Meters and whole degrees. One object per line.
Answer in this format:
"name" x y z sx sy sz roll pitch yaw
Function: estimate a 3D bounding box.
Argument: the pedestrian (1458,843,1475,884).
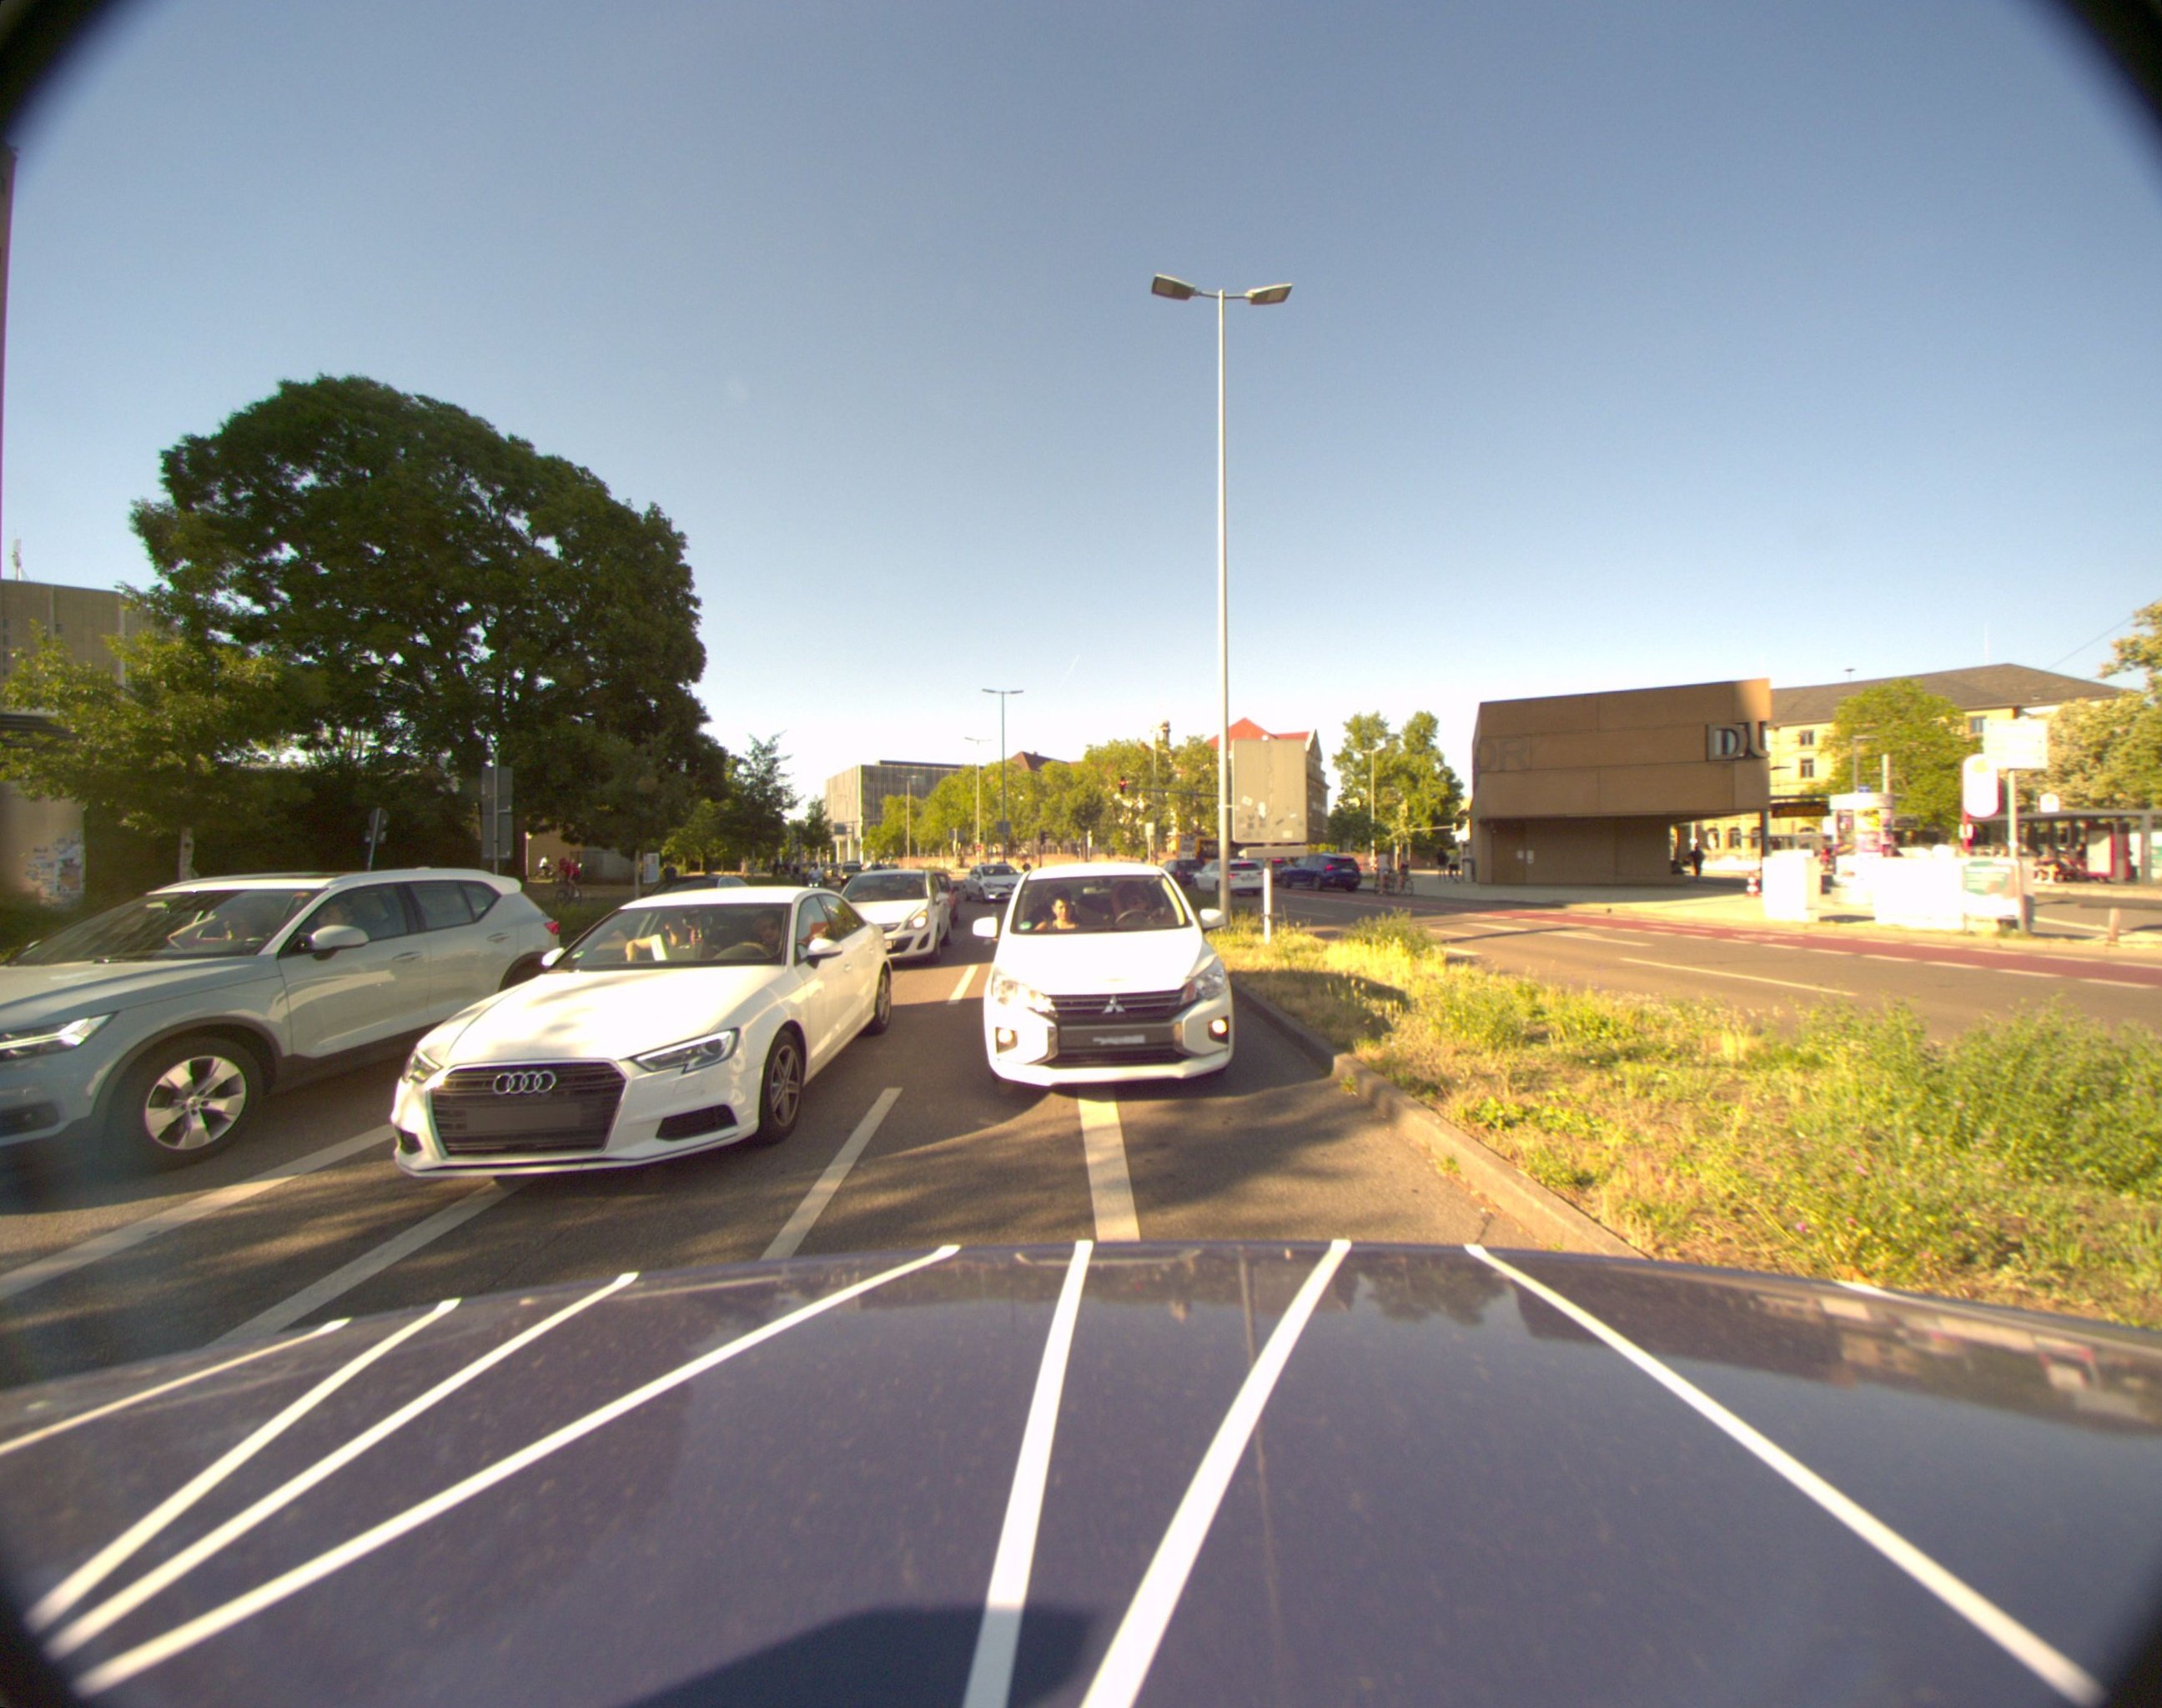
"pedestrian" 19.151 0.452 37.759 0.655 2.002 0.469 -2 1 20

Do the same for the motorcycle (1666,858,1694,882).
"motorcycle" 26.209 0.707 33.244 0.948 1.061 0.331 -1 1 39

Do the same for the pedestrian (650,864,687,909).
"pedestrian" -16.459 1.300 30.346 1.010 1.711 0.884 -2 1 -10

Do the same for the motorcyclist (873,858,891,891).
"motorcyclist" -9.723 0.994 37.096 0.711 1.581 0.689 -2 1 -11

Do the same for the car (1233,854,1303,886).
"car" 9.497 0.791 38.952 1.850 1.483 4.388 1 0 -10

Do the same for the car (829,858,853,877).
"car" -21.487 1.190 68.040 1.748 1.696 3.993 -1 0 -21

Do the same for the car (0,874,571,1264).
"car" -5.752 1.051 5.253 1.628 1.611 4.223 -2 1 -2

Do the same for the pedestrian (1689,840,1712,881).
"pedestrian" 30.697 0.335 37.655 0.780 2.002 0.771 -3 2 -42

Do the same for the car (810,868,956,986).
"car" -3.075 1.048 12.574 1.628 1.451 4.039 -2 1 -5

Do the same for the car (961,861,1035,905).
"car" -3.225 1.038 28.795 1.758 1.451 4.182 -3 1 -20

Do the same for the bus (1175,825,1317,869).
"bus" 14.205 -0.637 64.936 12.560 3.193 3.080 -3 1 -26

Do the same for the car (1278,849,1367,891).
"car" 10.443 0.643 33.214 1.757 1.680 4.183 -1 0 -14

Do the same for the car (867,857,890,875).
"car" -19.878 1.184 74.397 1.748 1.696 3.993 -1 0 -21

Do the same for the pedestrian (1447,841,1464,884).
"pedestrian" 17.654 0.407 35.817 0.655 2.002 0.469 -2 1 20

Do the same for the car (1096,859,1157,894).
"car" 2.070 0.992 35.814 1.757 1.451 4.184 -2 1 -12

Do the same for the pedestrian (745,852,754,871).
"pedestrian" -27.574 0.610 63.216 0.548 1.597 0.603 -3 1 -19

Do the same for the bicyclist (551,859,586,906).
"bicyclist" -17.581 0.977 26.094 0.617 1.551 0.870 -2 1 -8

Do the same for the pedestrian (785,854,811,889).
"pedestrian" -16.791 1.014 45.072 1.143 2.002 1.285 -2 1 -10

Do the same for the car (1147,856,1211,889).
"car" 4.732 0.858 37.376 1.757 1.451 4.184 -2 1 -12

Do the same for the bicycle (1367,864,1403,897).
"bicycle" 11.729 1.012 29.344 0.464 1.185 1.395 -3 1 -17

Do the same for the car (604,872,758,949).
"car" -9.463 1.257 18.409 1.756 1.451 4.186 -2 1 -5

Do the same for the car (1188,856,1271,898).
"car" 6.022 0.895 31.302 1.850 1.483 4.388 -2 1 -10

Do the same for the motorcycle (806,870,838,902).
"motorcycle" -11.409 1.380 33.522 0.718 1.297 2.234 -2 1 -4

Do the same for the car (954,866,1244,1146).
"car" 0.055 0.911 6.428 1.628 1.451 4.040 -2 1 -2

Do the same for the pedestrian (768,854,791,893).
"pedestrian" -16.055 1.036 40.512 0.895 2.002 0.881 -2 1 -10

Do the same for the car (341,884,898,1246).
"car" -2.555 1.035 5.385 1.628 1.396 3.832 -2 1 -2

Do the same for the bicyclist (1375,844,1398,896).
"bicyclist" 11.771 0.604 29.256 0.611 2.002 0.565 -1 1 -15

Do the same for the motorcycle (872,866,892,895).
"motorcycle" -9.731 1.262 37.223 0.718 1.297 2.233 -2 1 -9

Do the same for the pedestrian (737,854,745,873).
"pedestrian" -28.195 0.764 63.014 0.548 1.521 0.603 -3 1 -19

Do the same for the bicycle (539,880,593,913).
"bicycle" -17.556 1.429 25.946 0.660 0.958 2.033 0 1 -7

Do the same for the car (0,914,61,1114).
"car" -8.760 1.239 3.878 1.628 1.451 4.040 -2 1 -2

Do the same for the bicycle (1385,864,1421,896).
"bicycle" 12.482 0.982 29.453 0.464 1.185 1.395 -3 1 -17

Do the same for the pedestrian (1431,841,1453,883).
"pedestrian" 17.794 0.381 37.441 0.777 2.002 0.773 -2 1 13

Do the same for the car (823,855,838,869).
"car" -31.110 1.022 94.287 1.748 1.696 3.993 -1 0 -19

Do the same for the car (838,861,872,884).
"car" -15.588 1.258 52.616 1.746 1.516 3.996 -1 0 -9

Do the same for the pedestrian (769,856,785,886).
"pedestrian" -16.557 0.941 41.392 0.596 1.585 0.594 -2 1 -8

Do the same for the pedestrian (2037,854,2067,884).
"pedestrian" 39.041 0.610 30.552 0.539 1.180 0.659 -2 1 29

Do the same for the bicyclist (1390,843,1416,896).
"bicyclist" 12.472 0.589 29.410 0.611 2.002 0.708 -1 1 -15

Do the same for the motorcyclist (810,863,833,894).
"motorcyclist" -11.410 1.054 33.412 0.718 1.297 0.735 -2 1 -4

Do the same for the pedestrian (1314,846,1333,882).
"pedestrian" 13.141 0.536 41.142 0.797 1.886 0.612 0 1 40

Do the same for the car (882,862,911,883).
"car" -14.674 1.443 60.338 1.748 1.536 3.993 -1 0 -20

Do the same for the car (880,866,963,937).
"car" -3.897 1.097 19.092 1.628 1.451 4.039 -2 1 -7
